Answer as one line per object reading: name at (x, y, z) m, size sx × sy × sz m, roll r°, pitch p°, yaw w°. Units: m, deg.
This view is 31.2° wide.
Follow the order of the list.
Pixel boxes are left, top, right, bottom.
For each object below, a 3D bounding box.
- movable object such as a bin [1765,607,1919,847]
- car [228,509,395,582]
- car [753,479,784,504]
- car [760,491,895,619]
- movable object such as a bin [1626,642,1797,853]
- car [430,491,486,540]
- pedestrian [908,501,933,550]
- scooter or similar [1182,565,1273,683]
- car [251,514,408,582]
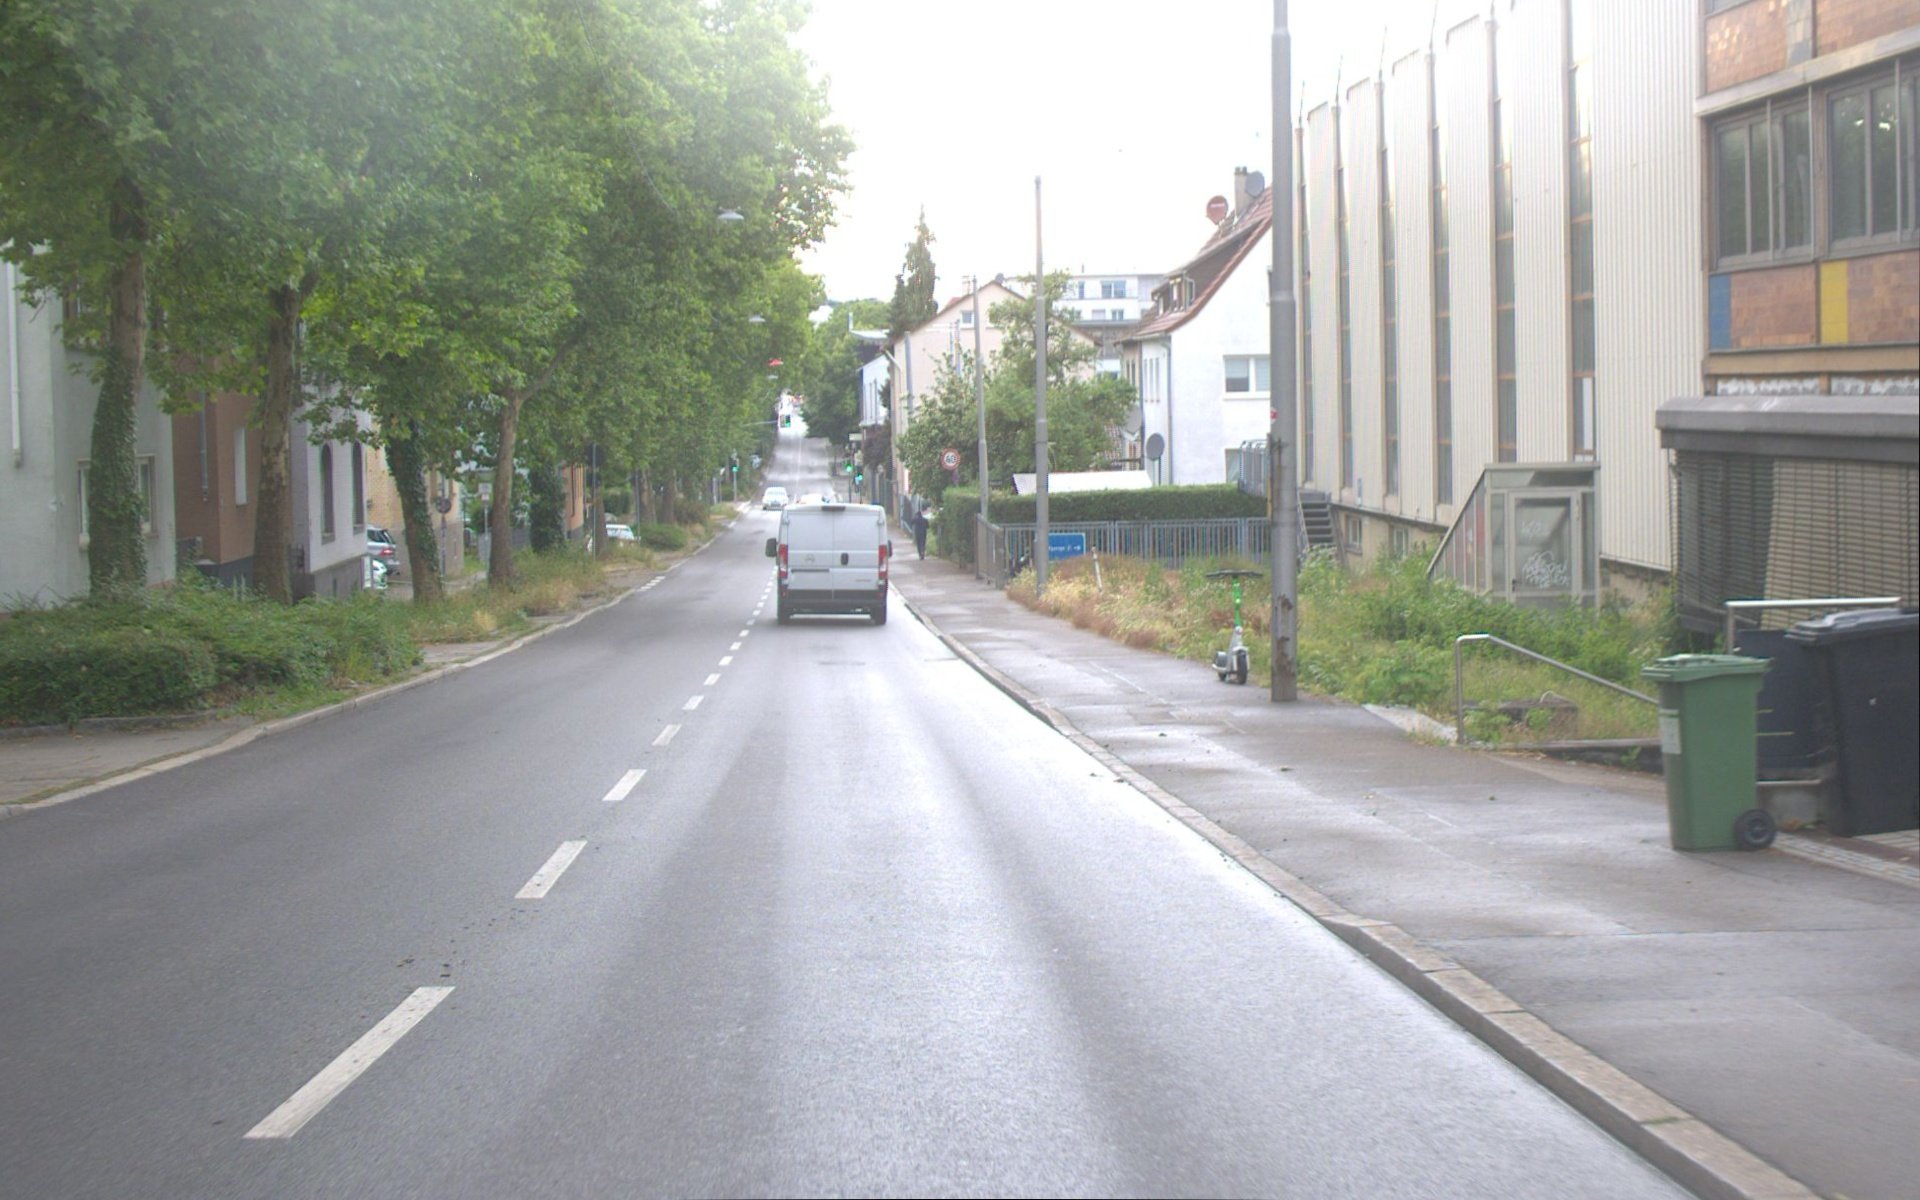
movable object such as a bin at (4.396, 0.605, 16.764) m, size 0.695 × 1.078 × 0.778 m, roll -4°, pitch 1°, yaw -1°
car at (-17.581, -1.487, 93.343) m, size 4.196 × 1.885 × 2.000 m, roll -1°, pitch 1°, yaw -3°
car at (-13.019, -7.375, 233.996) m, size 1.993 × 1.703 × 4.261 m, roll 0°, pitch 1°, yaw -5°
car at (-2.547, -0.894, 65.087) m, size 2.346 × 2.152 × 4.779 m, roll -2°, pitch 3°, yaw -4°
movable object such as a bin at (3.618, 0.703, 16.589) m, size 0.619 × 0.933 × 0.686 m, roll -4°, pitch 1°, yaw -1°
car at (-20.815, -3.525, 142.593) m, size 1.875 × 1.888 × 4.001 m, roll -1°, pitch 3°, yaw -3°
pedestrian at (-1.368, -2.583, 118.998) m, size 0.815 × 1.692 × 0.729 m, roll 0°, pitch 1°, yaw -2°
scooter or similar at (2.744, 0.235, 35.469) m, size 0.605 × 1.158 × 1.700 m, roll -1°, pitch 1°, yaw -6°
car at (-18.149, -1.500, 99.047) m, size 4.196 × 1.885 × 2.000 m, roll -1°, pitch 1°, yaw -3°
